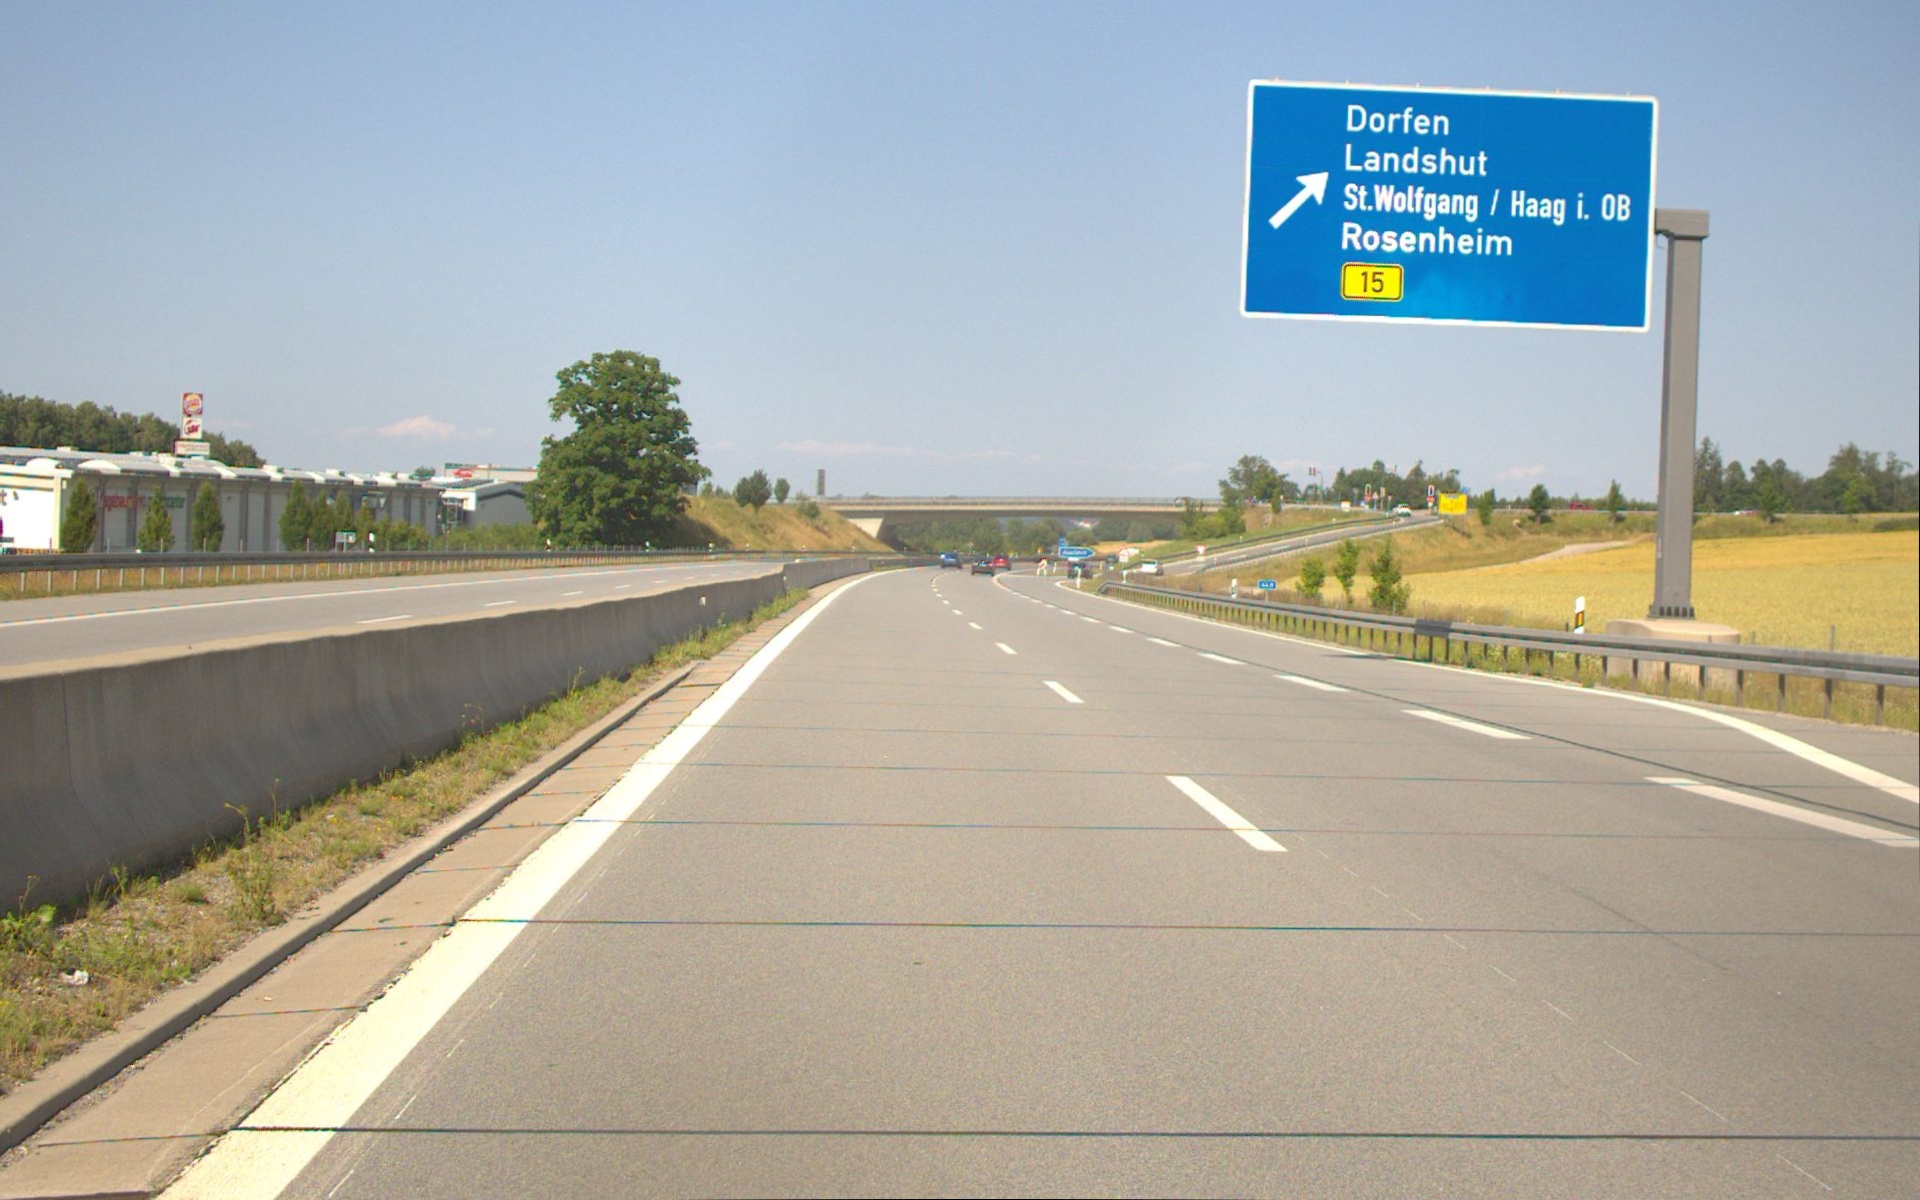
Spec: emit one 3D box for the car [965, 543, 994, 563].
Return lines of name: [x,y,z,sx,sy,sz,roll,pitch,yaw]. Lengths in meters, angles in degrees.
car: [1.460,-3.555,259.582,1.994,1.415,4.000,1,1,3]
